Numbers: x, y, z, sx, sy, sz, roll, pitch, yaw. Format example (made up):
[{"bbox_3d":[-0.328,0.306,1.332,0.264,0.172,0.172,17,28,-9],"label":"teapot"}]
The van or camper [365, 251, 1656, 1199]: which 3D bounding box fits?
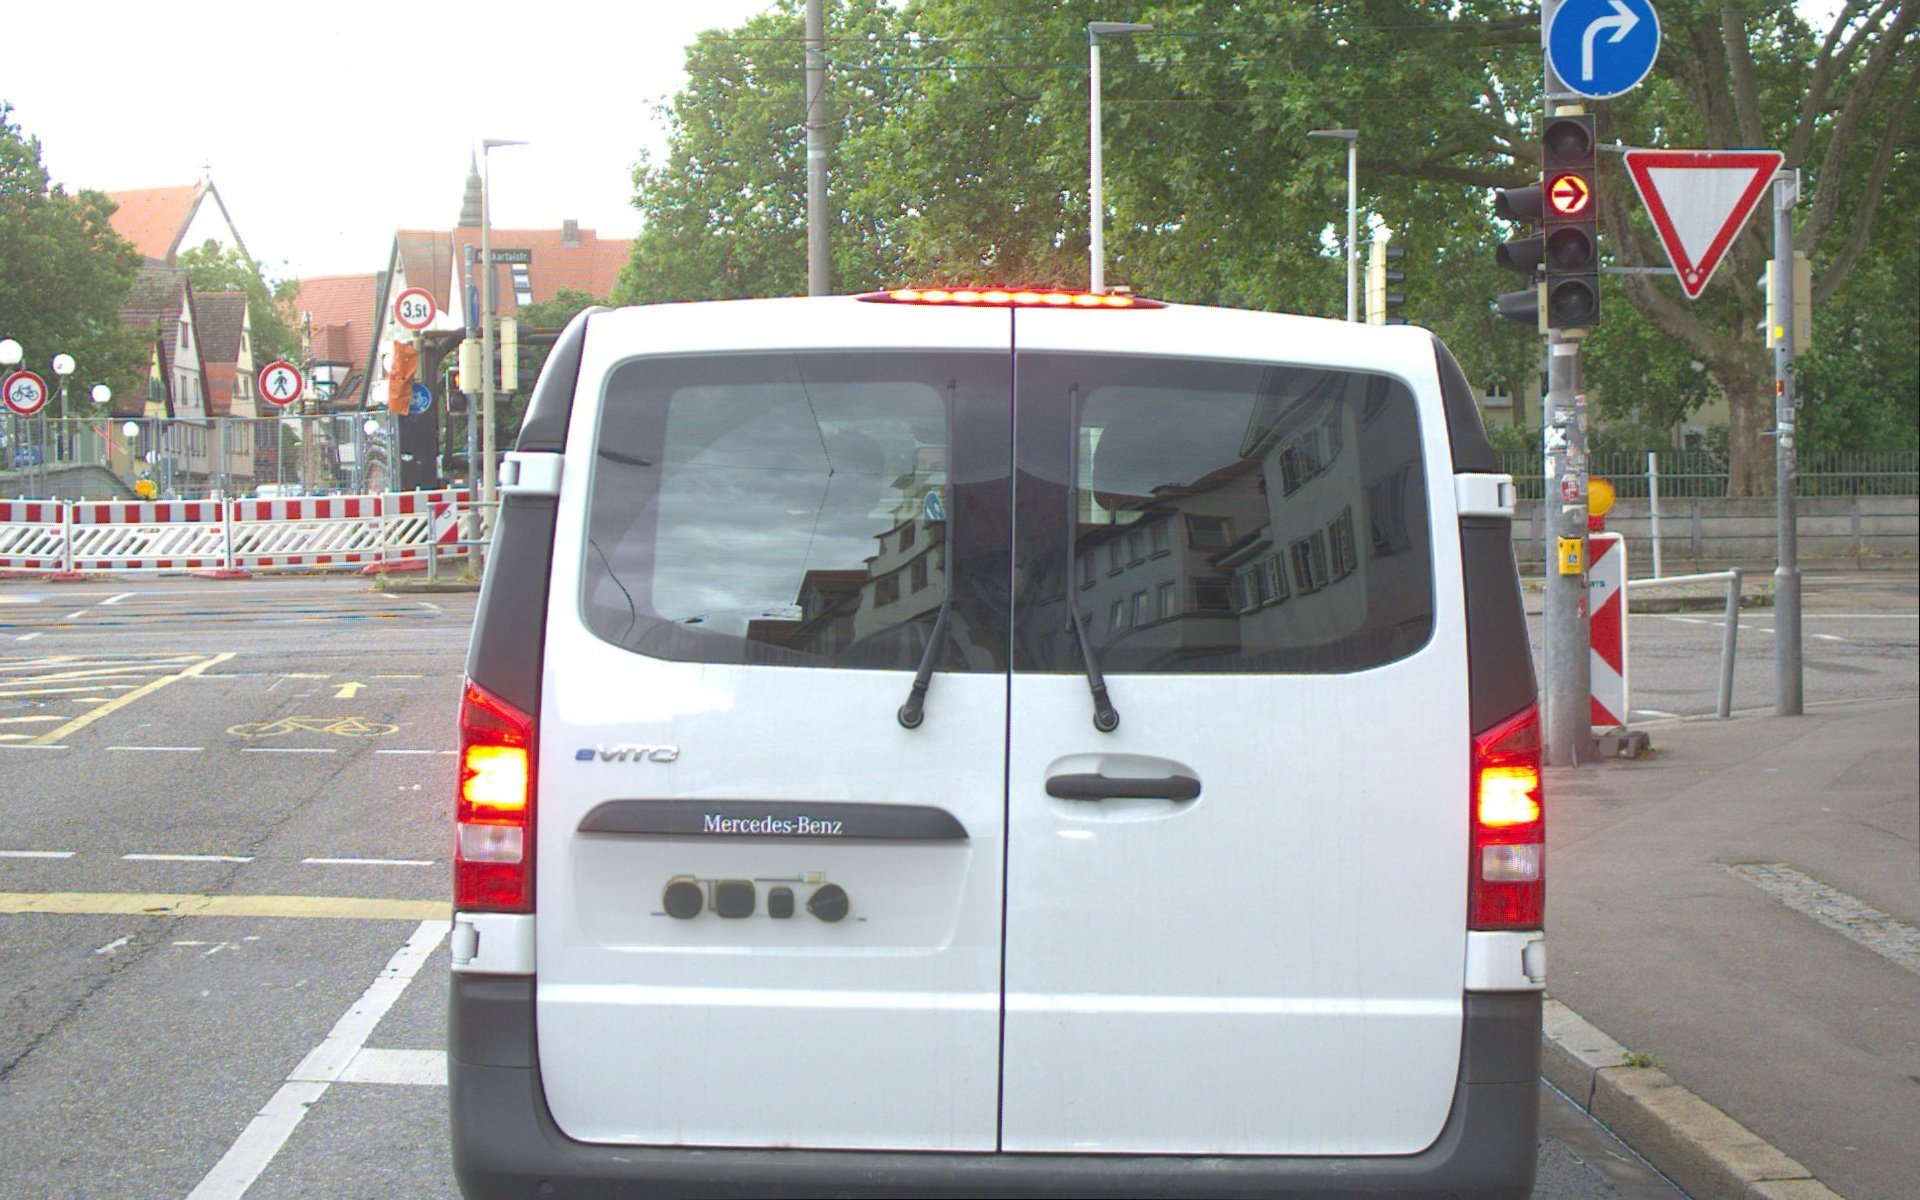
[{"bbox_3d":[-0.062,0.340,7.430,1.937,1.918,4.442,1,3,-4],"label":"van or camper"}]
